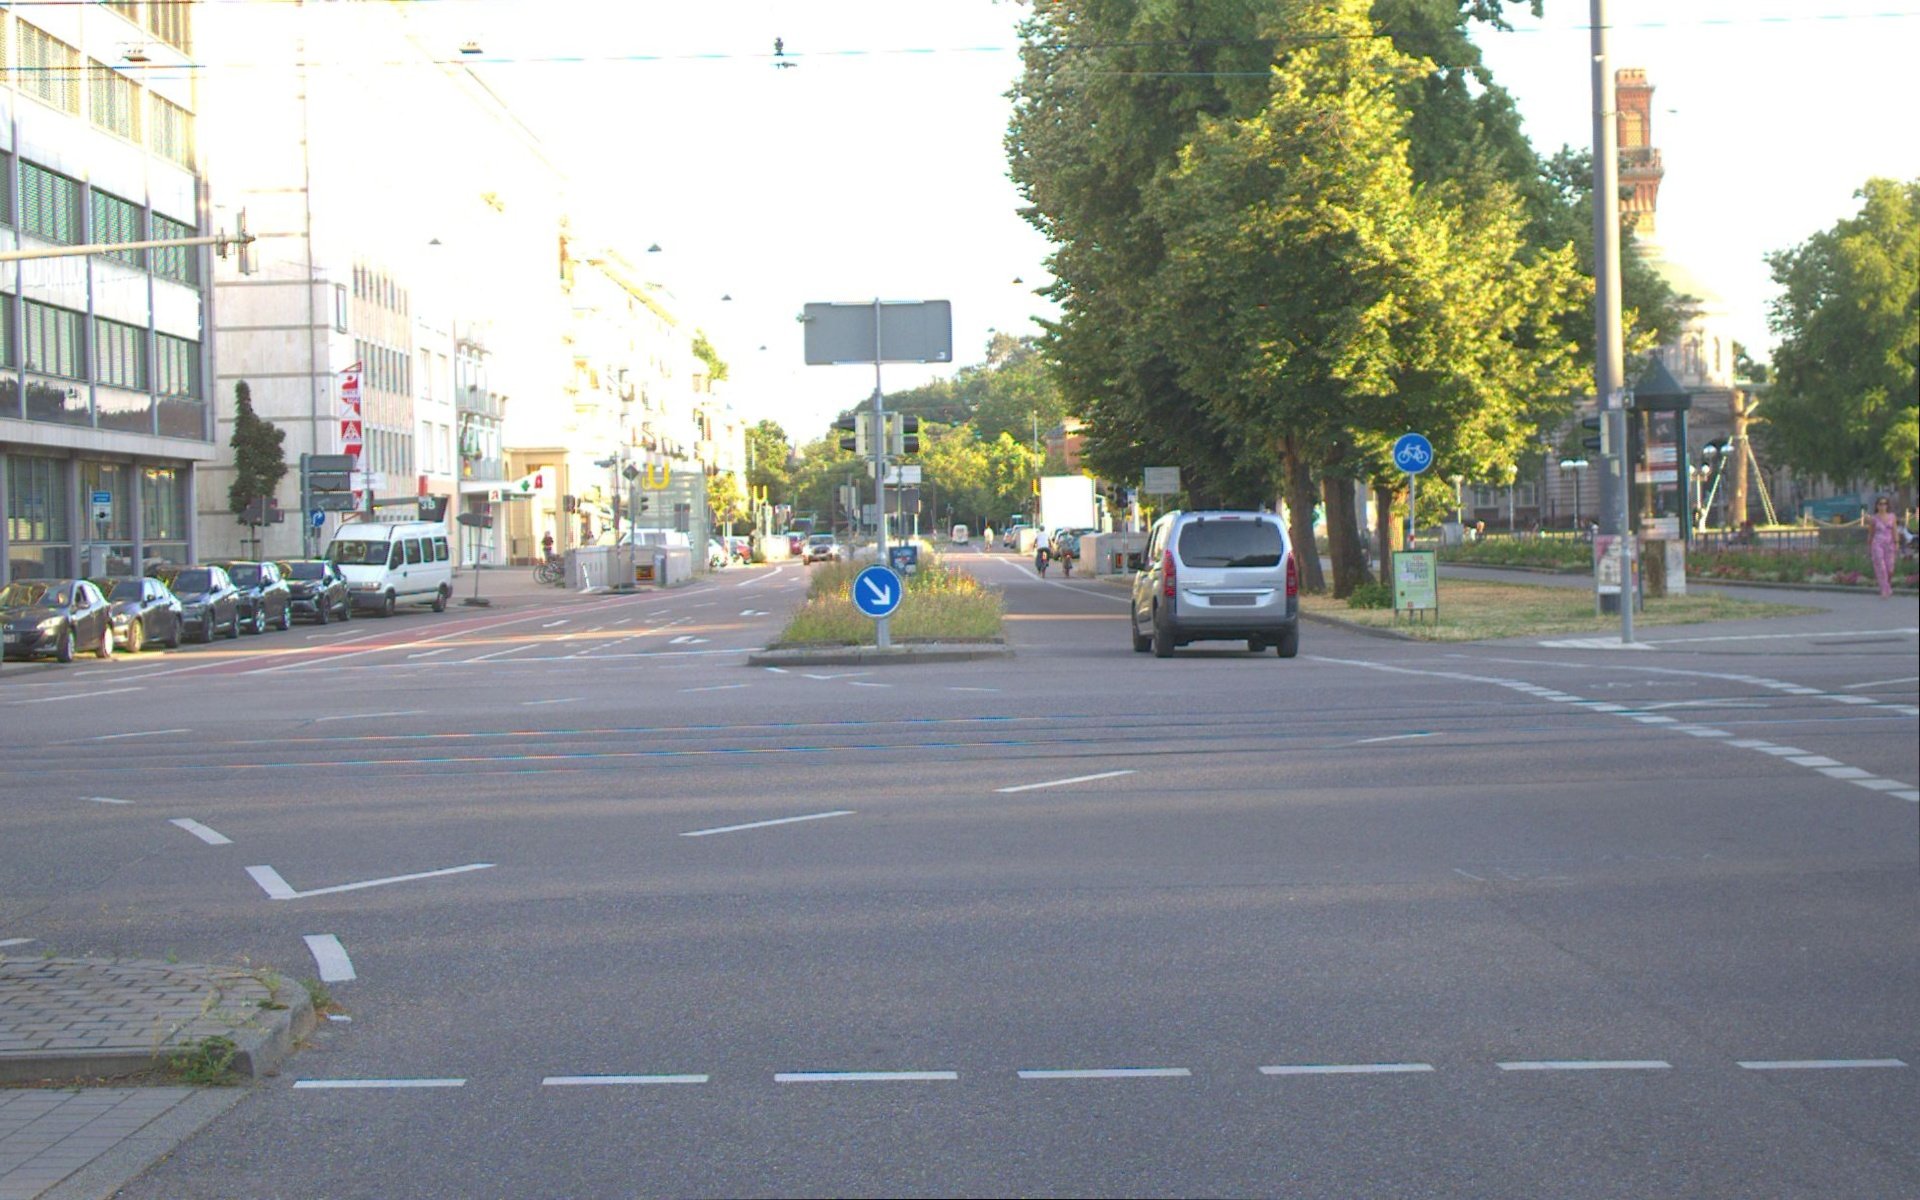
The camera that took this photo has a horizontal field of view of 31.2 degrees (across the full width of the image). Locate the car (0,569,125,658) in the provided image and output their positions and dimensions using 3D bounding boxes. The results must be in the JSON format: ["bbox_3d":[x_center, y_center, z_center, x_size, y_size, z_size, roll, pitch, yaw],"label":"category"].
[{"bbox_3d":[-16.488,0.227,61.909,1.920,1.459,4.103,-2,1,-1],"label":"car"}]

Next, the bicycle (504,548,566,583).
[{"bbox_3d":[-15.946,-1.307,128.886,2.205,1.232,0.839,-2,1,-2],"label":"bicycle"}]

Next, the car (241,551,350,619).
[{"bbox_3d":[-16.362,-0.390,84.782,1.920,1.563,4.000,-2,1,-1],"label":"car"}]

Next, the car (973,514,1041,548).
[{"bbox_3d":[2.893,-4.276,212.920,3.986,2.007,2.000,-1,1,-4],"label":"car"}]

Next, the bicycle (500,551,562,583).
[{"bbox_3d":[-15.827,-1.231,126.906,2.205,1.108,0.689,-2,1,-2],"label":"bicycle"}]

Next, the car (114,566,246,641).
[{"bbox_3d":[-16.582,0.047,73.254,1.920,1.459,4.000,-2,1,-1],"label":"car"}]

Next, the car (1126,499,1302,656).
[{"bbox_3d":[3.234,-0.324,44.579,1.763,1.882,4.500,-2,1,-2],"label":"car"}]

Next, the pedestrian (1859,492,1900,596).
[{"bbox_3d":[14.721,-0.896,55.046,0.460,1.651,0.567,-1,1,-1],"label":"pedestrian"}]

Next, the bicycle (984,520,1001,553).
[{"bbox_3d":[1.983,-3.906,211.429,0.895,2.007,4.000,-1,1,-1],"label":"bicycle"}]

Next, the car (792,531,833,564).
[{"bbox_3d":[-7.145,-2.571,166.948,1.863,1.514,4.000,-2,1,-1],"label":"car"}]

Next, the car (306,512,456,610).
[{"bbox_3d":[-15.303,-1.060,91.233,2.002,2.469,5.865,-1,1,10],"label":"car"}]

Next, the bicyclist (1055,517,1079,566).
[{"bbox_3d":[3.747,-2.029,120.139,0.746,1.685,0.799,-2,1,-1],"label":"bicyclist"}]

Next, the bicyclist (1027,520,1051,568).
[{"bbox_3d":[2.745,-1.949,119.769,0.746,1.658,0.873,-2,1,-1],"label":"bicyclist"}]

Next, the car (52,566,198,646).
[{"bbox_3d":[-16.578,0.096,68.440,1.920,1.459,4.000,-2,1,-1],"label":"car"}]

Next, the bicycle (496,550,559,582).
[{"bbox_3d":[-15.762,-1.226,125.306,2.205,1.108,0.619,-2,1,-2],"label":"bicycle"}]

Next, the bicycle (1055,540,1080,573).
[{"bbox_3d":[3.763,-1.529,120.134,0.746,1.140,2.505,-2,1,-1],"label":"bicycle"}]

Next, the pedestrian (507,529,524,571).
[{"bbox_3d":[-21.304,-2.403,164.799,0.680,2.007,0.545,-1,1,0],"label":"pedestrian"}]

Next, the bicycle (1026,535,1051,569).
[{"bbox_3d":[2.750,-1.681,120.169,0.746,1.140,2.505,-2,1,-1],"label":"bicycle"}]

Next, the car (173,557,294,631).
[{"bbox_3d":[-16.560,-0.156,78.556,1.920,1.563,4.000,-2,1,-1],"label":"car"}]
